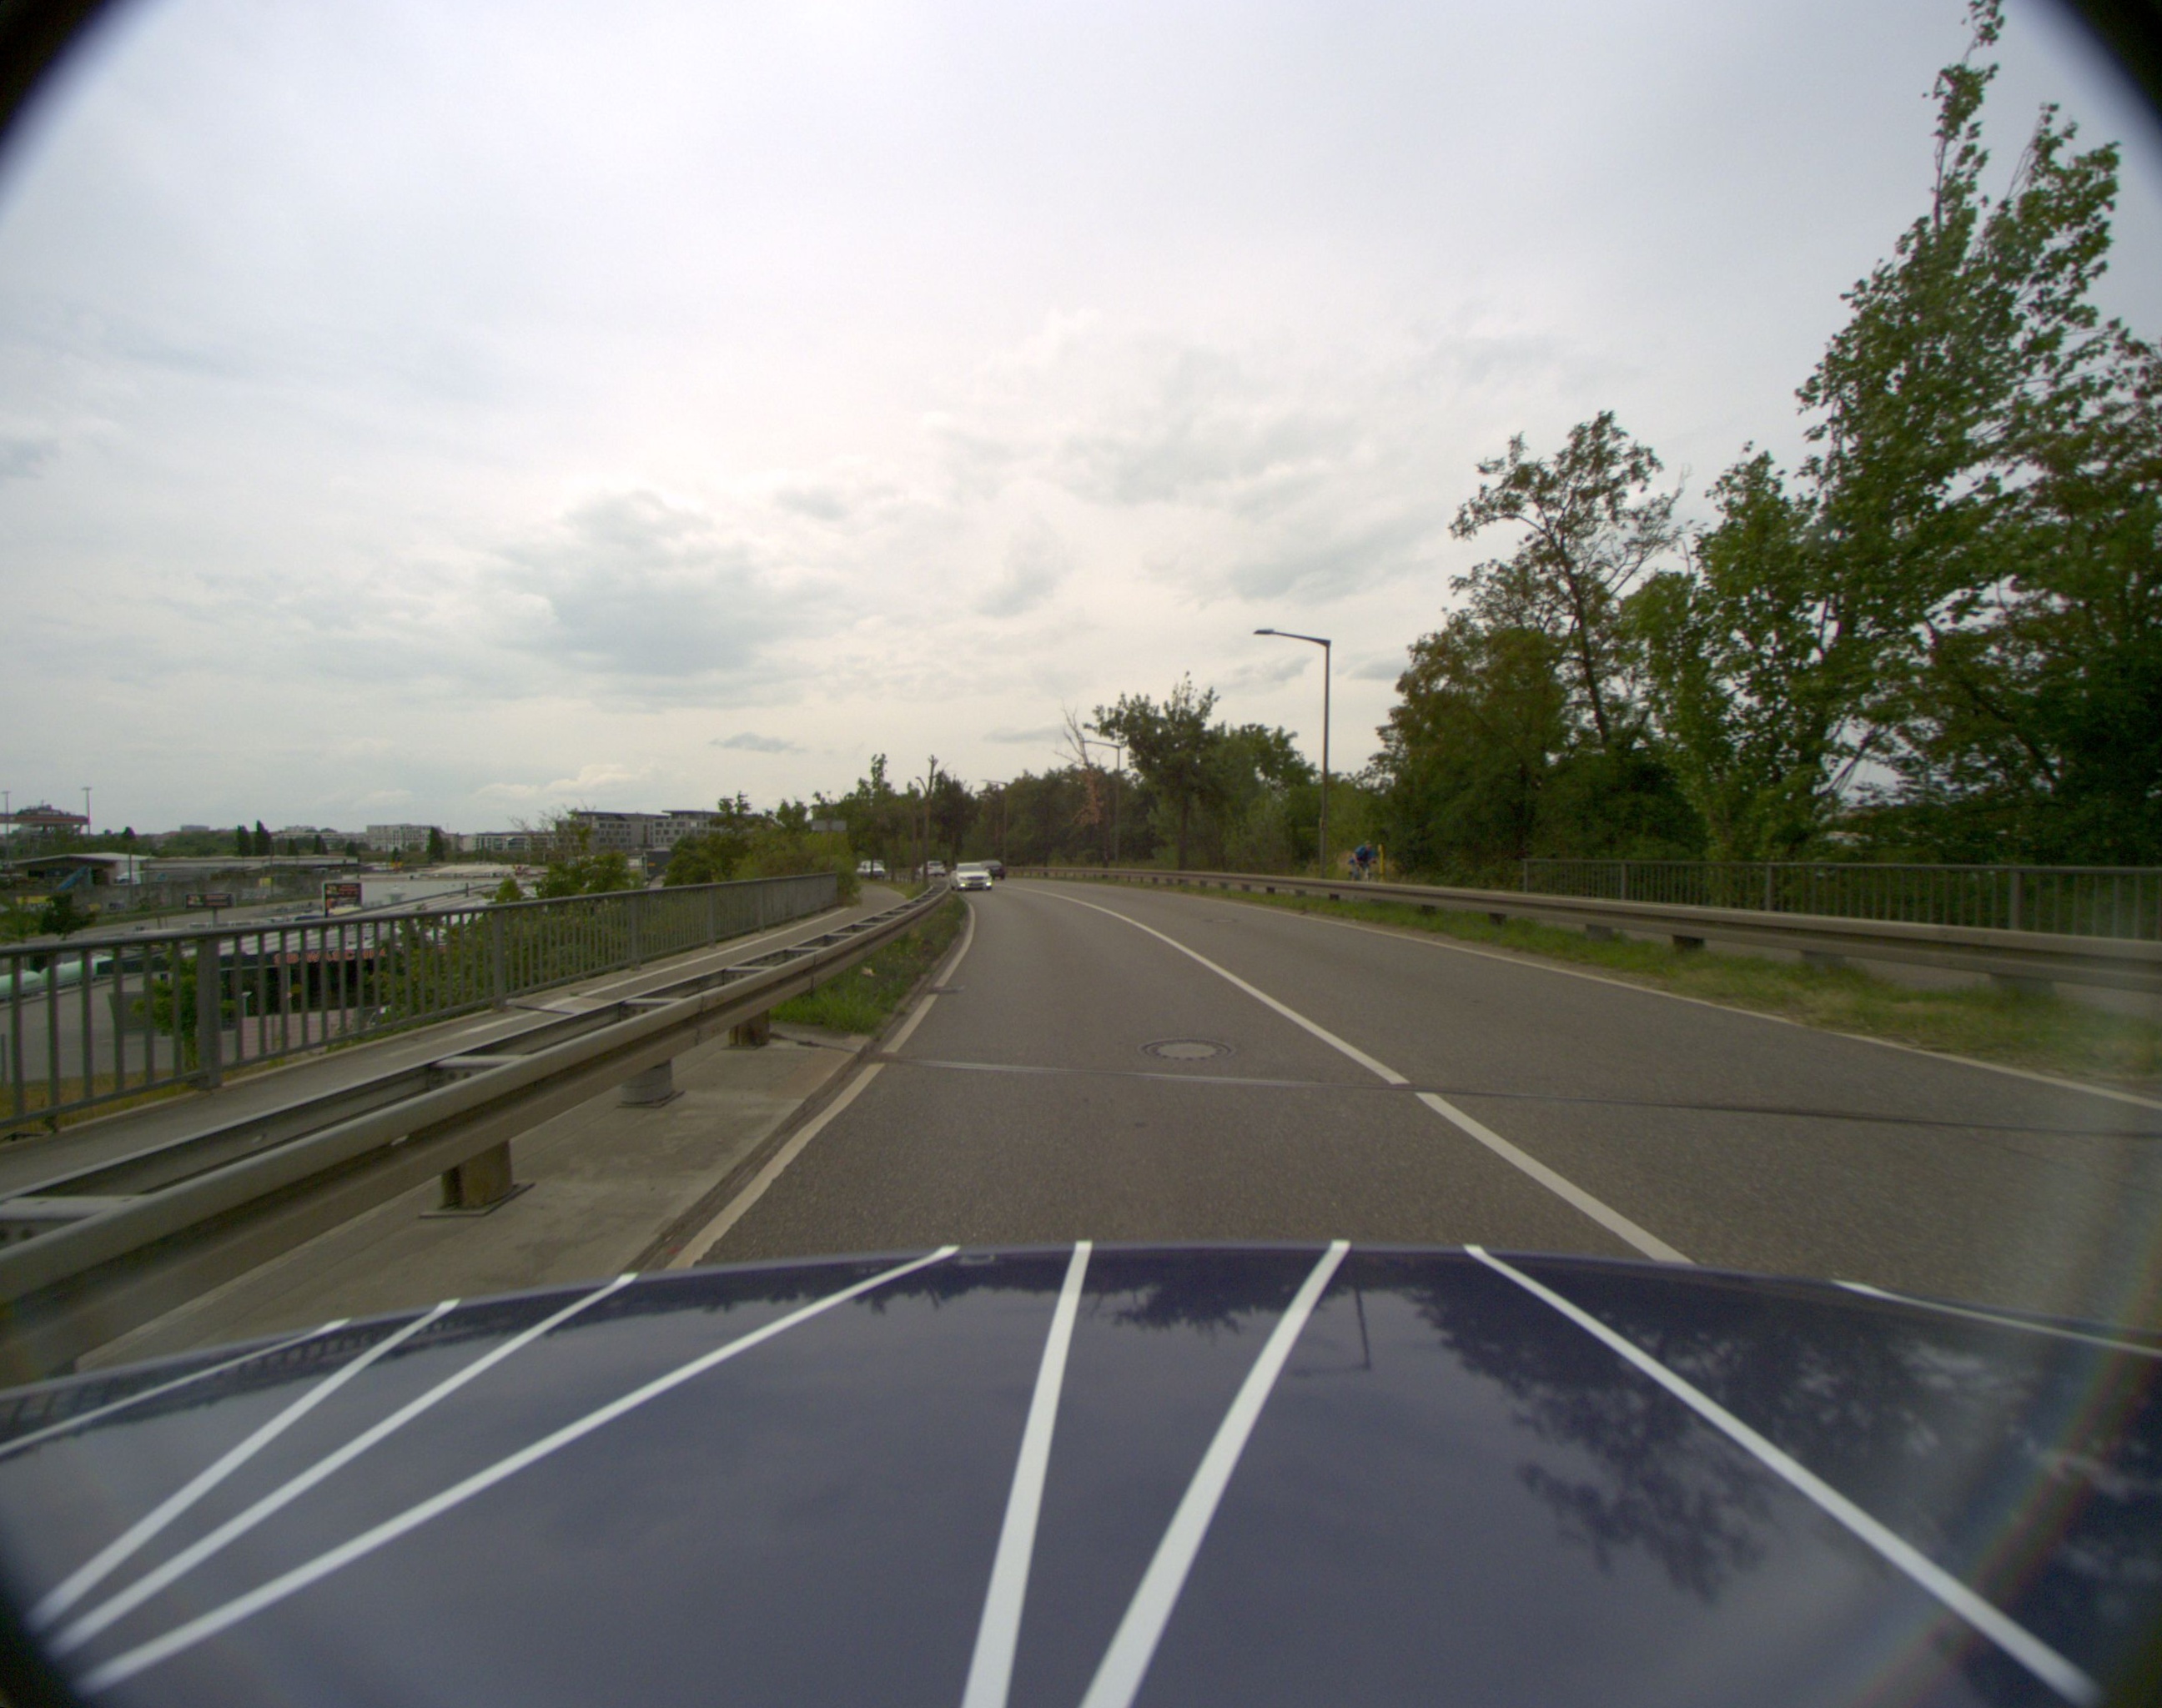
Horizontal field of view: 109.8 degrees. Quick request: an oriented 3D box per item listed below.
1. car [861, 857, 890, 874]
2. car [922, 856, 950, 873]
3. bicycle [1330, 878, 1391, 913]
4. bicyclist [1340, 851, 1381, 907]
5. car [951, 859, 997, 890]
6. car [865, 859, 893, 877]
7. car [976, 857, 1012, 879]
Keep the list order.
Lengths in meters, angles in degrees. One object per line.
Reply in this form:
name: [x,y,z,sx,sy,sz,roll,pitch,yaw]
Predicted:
car: [-24.091,1.396,88.876,1.966,1.874,4.422,-2,0,-32]
car: [-13.698,0.980,71.422,1.813,1.512,4.425,-2,0,-20]
bicycle: [7.452,1.098,20.387,0.694,0.793,1.891,-2,1,-9]
bicyclist: [7.452,0.652,20.298,0.713,1.436,0.747,-2,1,-9]
car: [-5.730,1.073,40.243,1.939,1.448,3.882,-4,0,-14]
car: [-20.244,1.379,76.188,1.966,1.695,4.424,-2,0,-24]
car: [-6.487,1.020,56.111,1.711,1.487,4.321,-3,1,-18]
